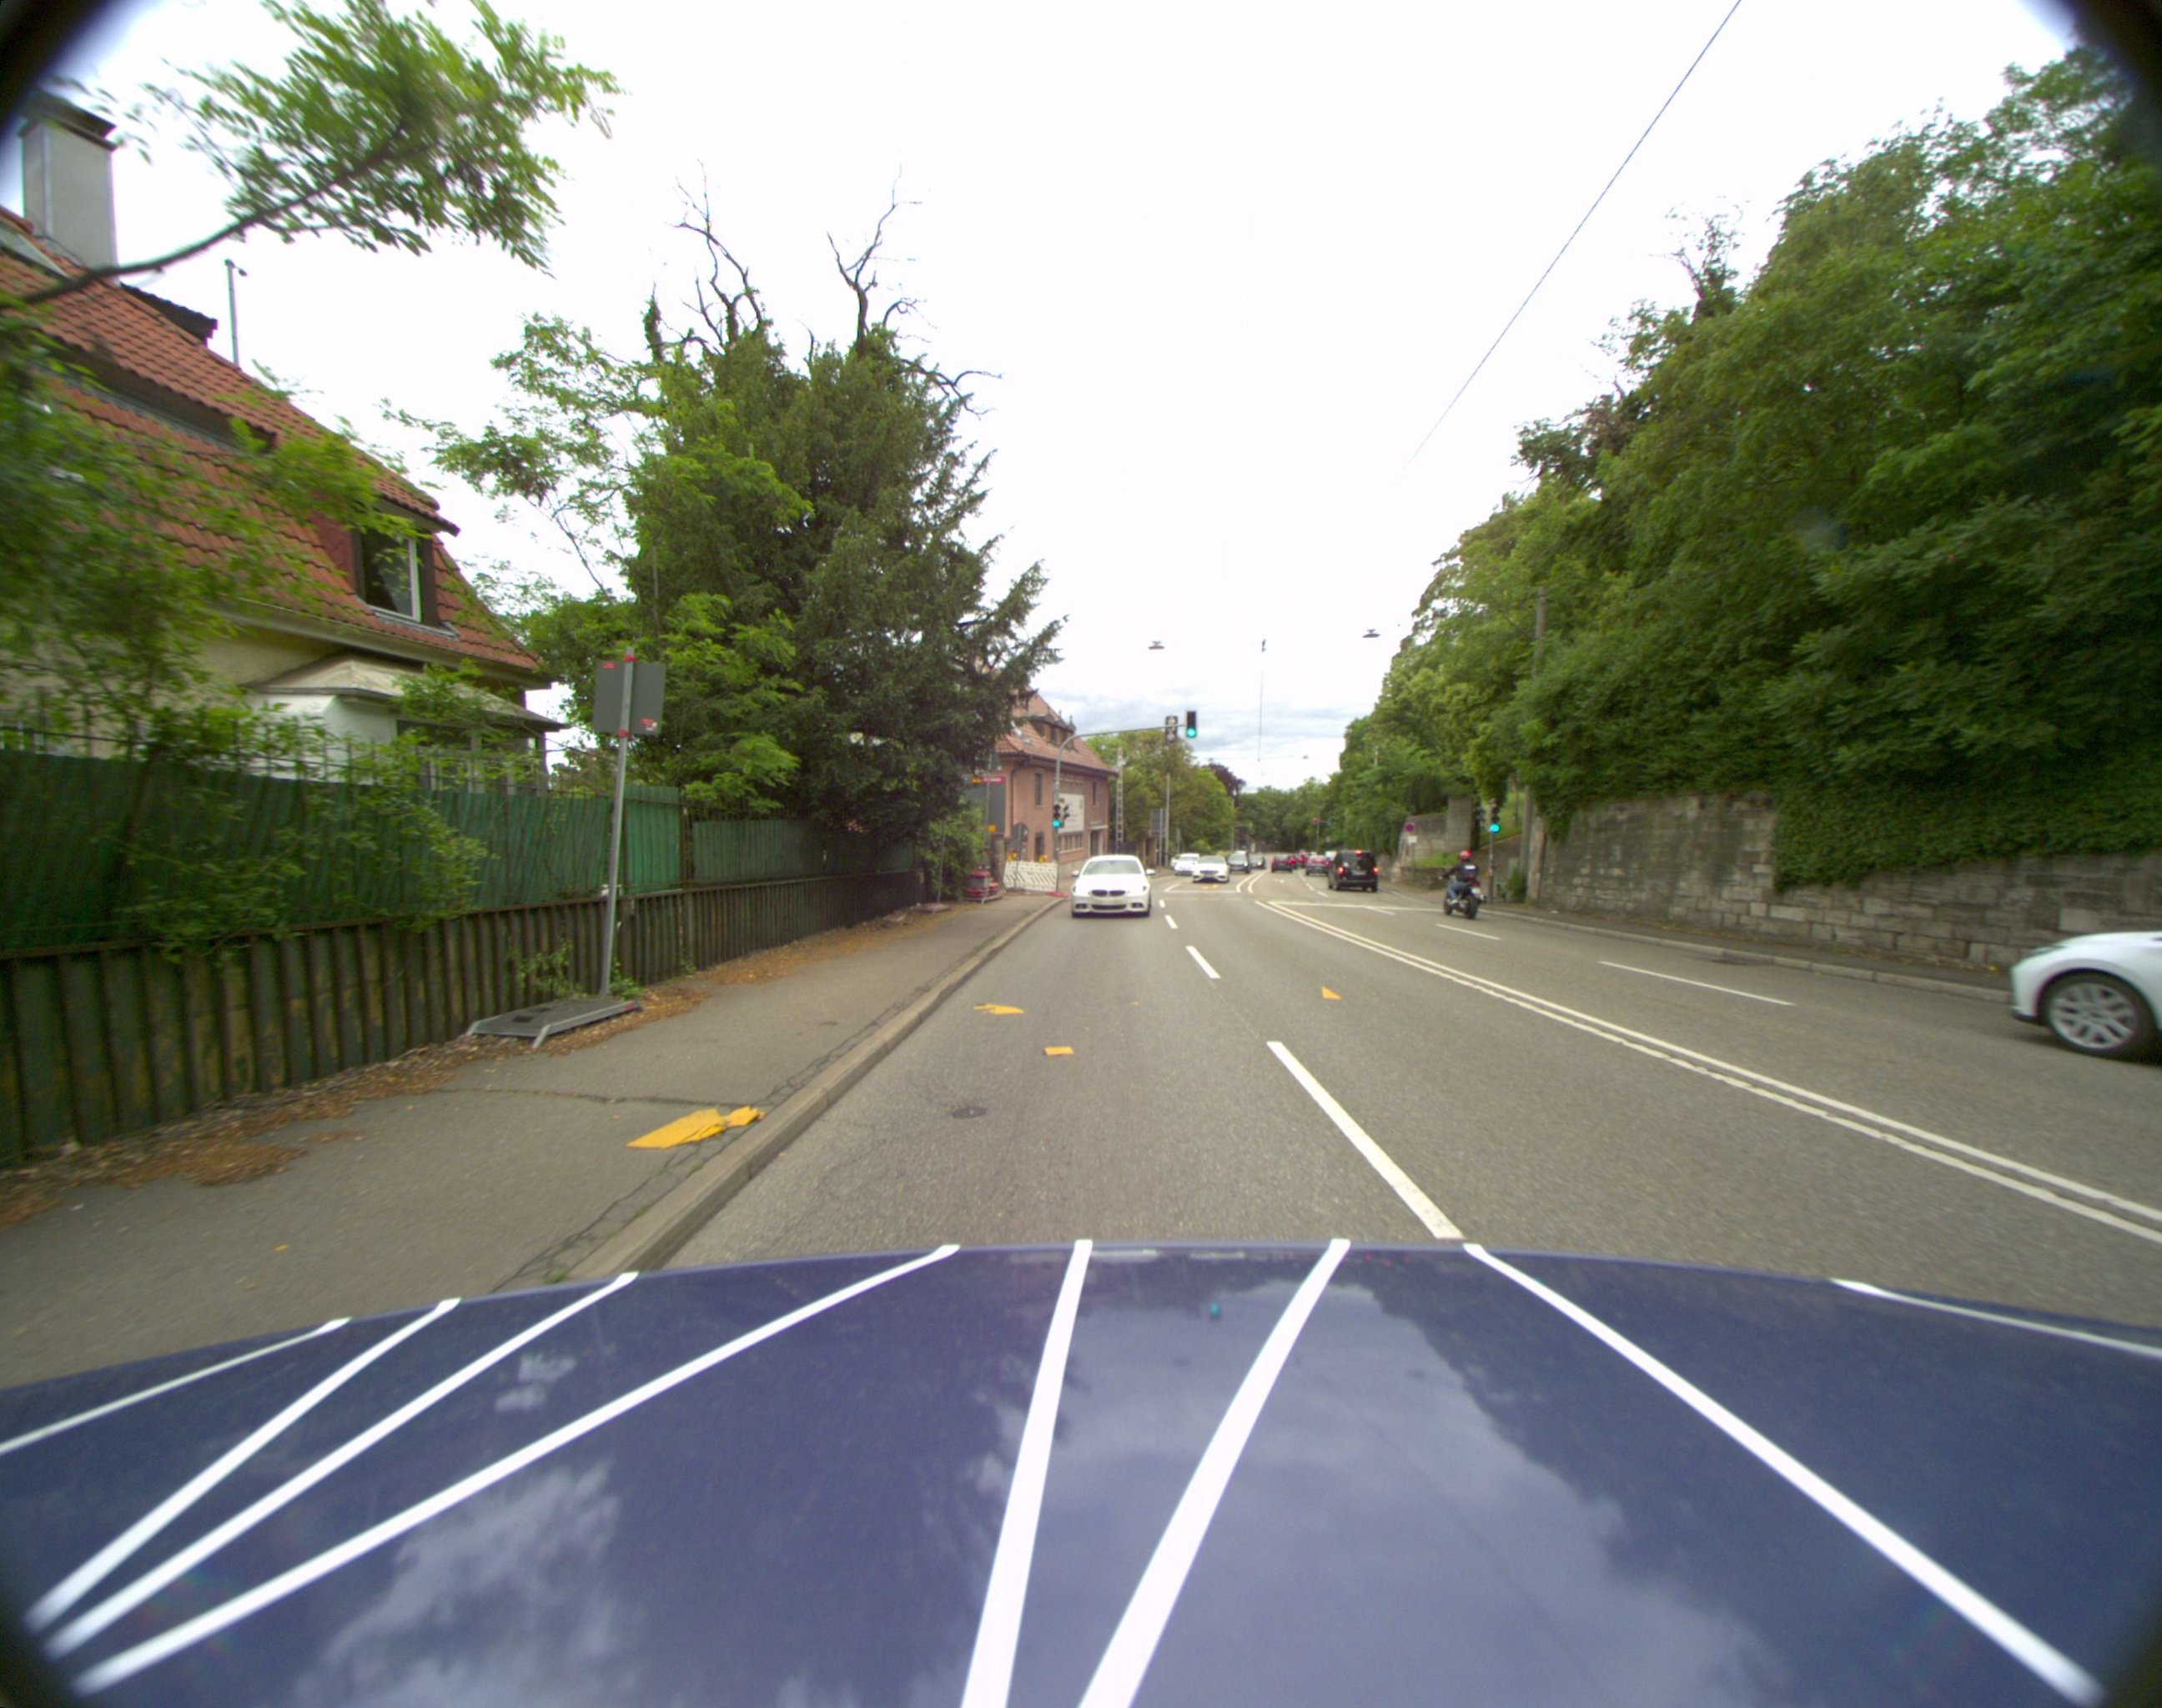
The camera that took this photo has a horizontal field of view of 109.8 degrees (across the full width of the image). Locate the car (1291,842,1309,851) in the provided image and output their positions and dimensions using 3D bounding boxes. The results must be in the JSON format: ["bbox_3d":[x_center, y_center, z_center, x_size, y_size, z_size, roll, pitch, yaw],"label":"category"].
[{"bbox_3d":[40.418,-1.404,140.259,1.847,1.401,4.454,2,1,0],"label":"car"}]

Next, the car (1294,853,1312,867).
[{"bbox_3d":[27.726,0.729,94.631,1.962,1.739,4.885,1,0,18],"label":"car"}]

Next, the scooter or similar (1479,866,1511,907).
[{"bbox_3d":[13.616,1.061,24.991,1.100,1.230,0.433,-4,1,-34],"label":"scooter or similar"}]

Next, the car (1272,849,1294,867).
[{"bbox_3d":[17.924,0.343,67.478,1.756,1.557,3.683,2,1,15],"label":"car"}]

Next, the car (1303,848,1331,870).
[{"bbox_3d":[18.792,0.383,60.325,1.995,1.598,4.483,3,1,18],"label":"car"}]

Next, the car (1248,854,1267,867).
[{"bbox_3d":[18.398,0.662,79.339,1.833,1.369,4.004,1,1,13],"label":"car"}]

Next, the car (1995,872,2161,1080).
[{"bbox_3d":[8.663,0.942,4.395,1.787,1.458,4.101,2,1,1],"label":"car"}]

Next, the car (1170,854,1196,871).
[{"bbox_3d":[9.354,0.731,69.341,1.677,1.453,4.371,3,1,16],"label":"car"}]

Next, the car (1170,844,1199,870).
[{"bbox_3d":[7.505,0.190,54.680,1.956,1.761,4.003,1,0,9],"label":"car"}]

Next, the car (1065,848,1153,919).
[{"bbox_3d":[0.731,0.610,18.576,1.822,1.463,4.785,2,1,3],"label":"car"}]

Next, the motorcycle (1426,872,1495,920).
[{"bbox_3d":[9.724,1.046,19.597,0.651,1.067,2.308,2,0,2],"label":"motorcycle"}]

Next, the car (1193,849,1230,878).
[{"bbox_3d":[6.885,0.478,39.990,1.801,1.382,3.530,1,0,10],"label":"car"}]

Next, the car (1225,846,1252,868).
[{"bbox_3d":[12.647,0.230,60.964,1.956,1.730,4.004,1,0,12],"label":"car"}]

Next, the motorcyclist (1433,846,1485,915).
[{"bbox_3d":[9.757,0.664,19.648,0.650,1.695,1.338,2,1,2],"label":"motorcyclist"}]

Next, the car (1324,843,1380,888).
[{"bbox_3d":[12.195,0.499,34.403,1.746,1.835,4.253,3,0,12],"label":"car"}]

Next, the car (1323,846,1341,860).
[{"bbox_3d":[33.793,-0.172,102.359,1.895,1.837,4.401,2,1,15],"label":"car"}]
